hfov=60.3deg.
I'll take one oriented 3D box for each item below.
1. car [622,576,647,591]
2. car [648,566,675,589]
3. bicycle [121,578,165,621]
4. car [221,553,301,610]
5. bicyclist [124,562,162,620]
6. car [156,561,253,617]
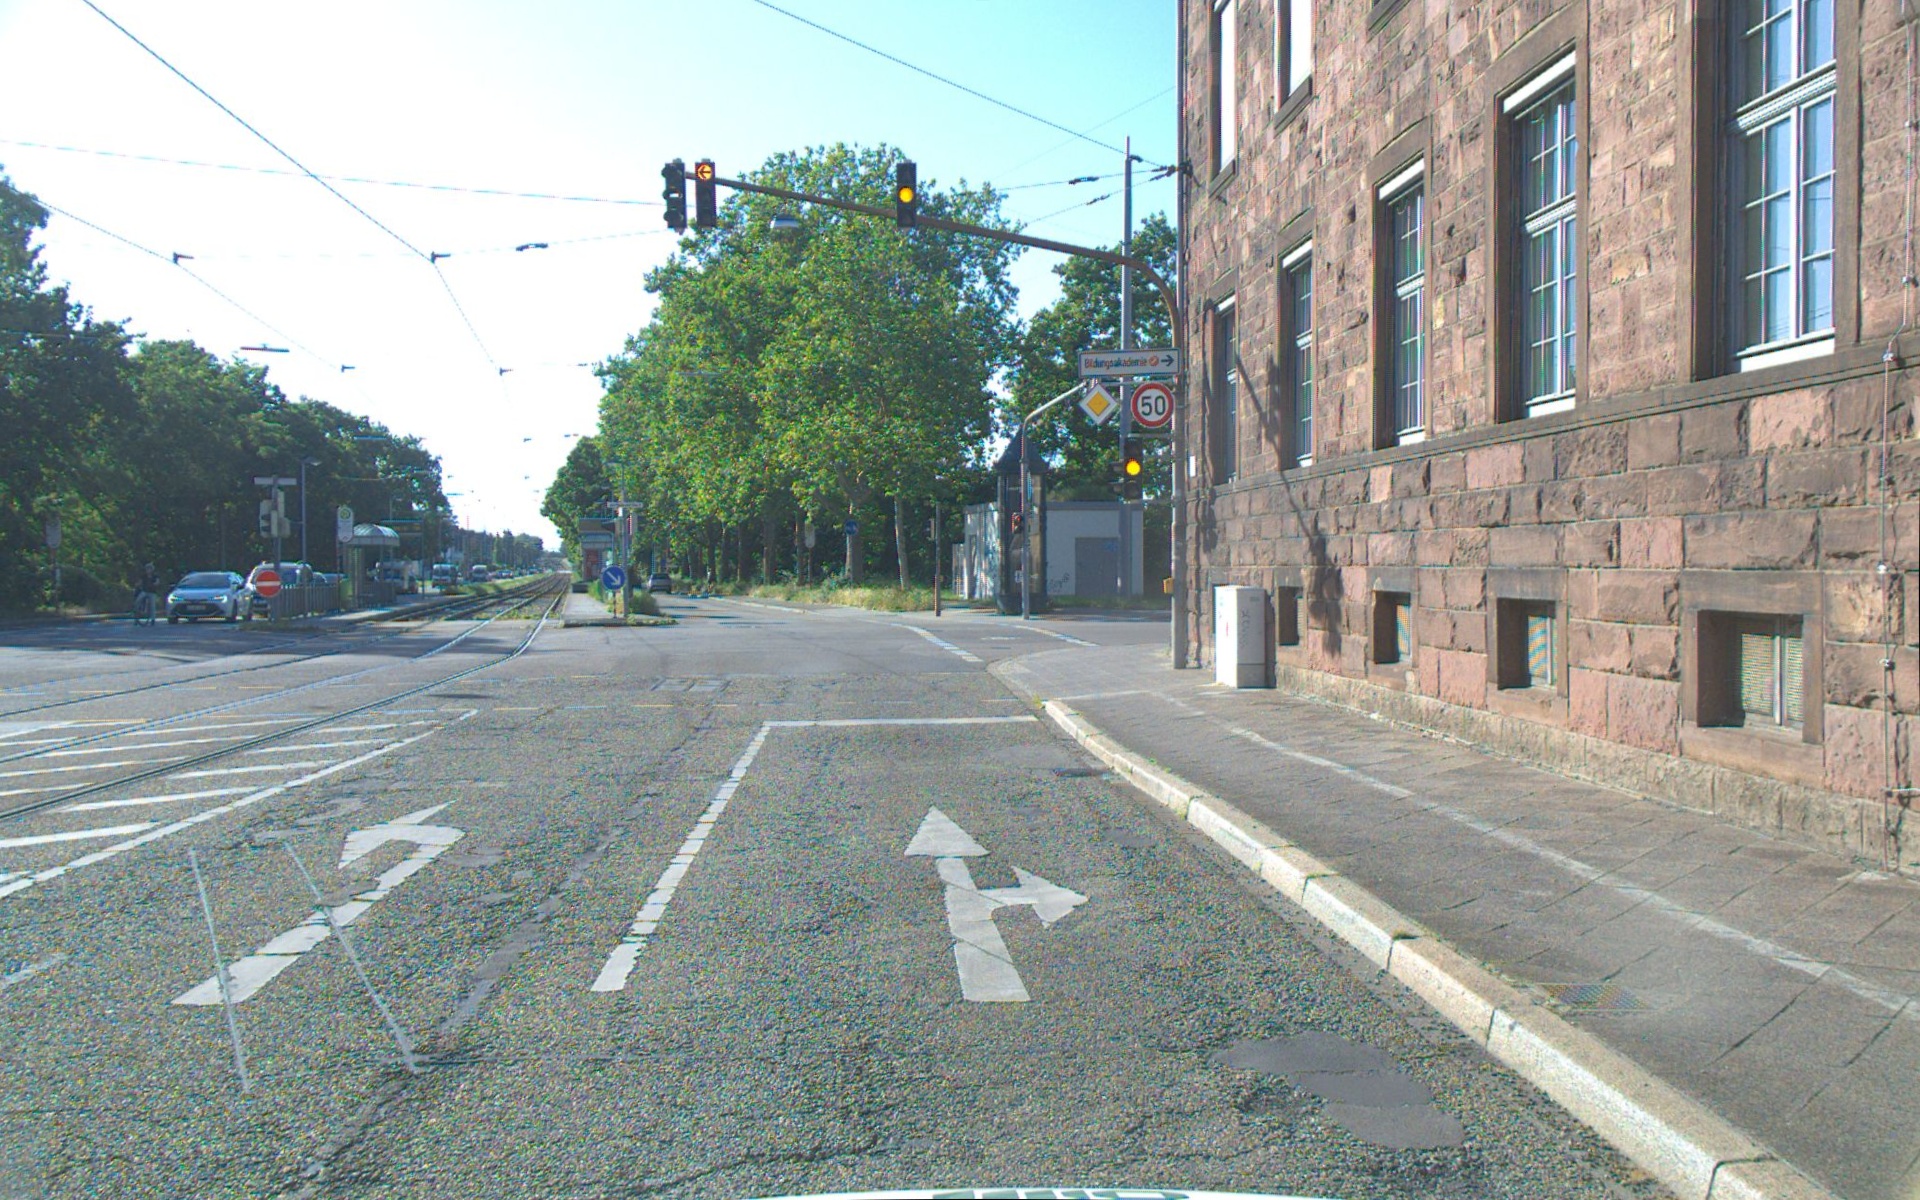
[{"bbox_3d":[-36.927,-1.904,187.498,1.917,1.638,3.970,-1,1,-24],"label":"car"},{"bbox_3d":[-22.849,-1.738,126.697,1.907,1.638,3.992,-1,1,-9],"label":"car"},{"bbox_3d":[-21.729,-0.035,44.015,0.738,1.106,2.166,-1,1,-18],"label":"bicycle"},{"bbox_3d":[-22.777,-0.622,54.009,1.962,1.791,3.982,-1,1,-17],"label":"car"},{"bbox_3d":[-21.724,-0.244,44.000,0.738,1.530,0.959,-1,1,-19],"label":"bicyclist"},{"bbox_3d":[-21.640,-0.343,47.532,1.962,1.530,3.982,-1,1,-17],"label":"car"}]
